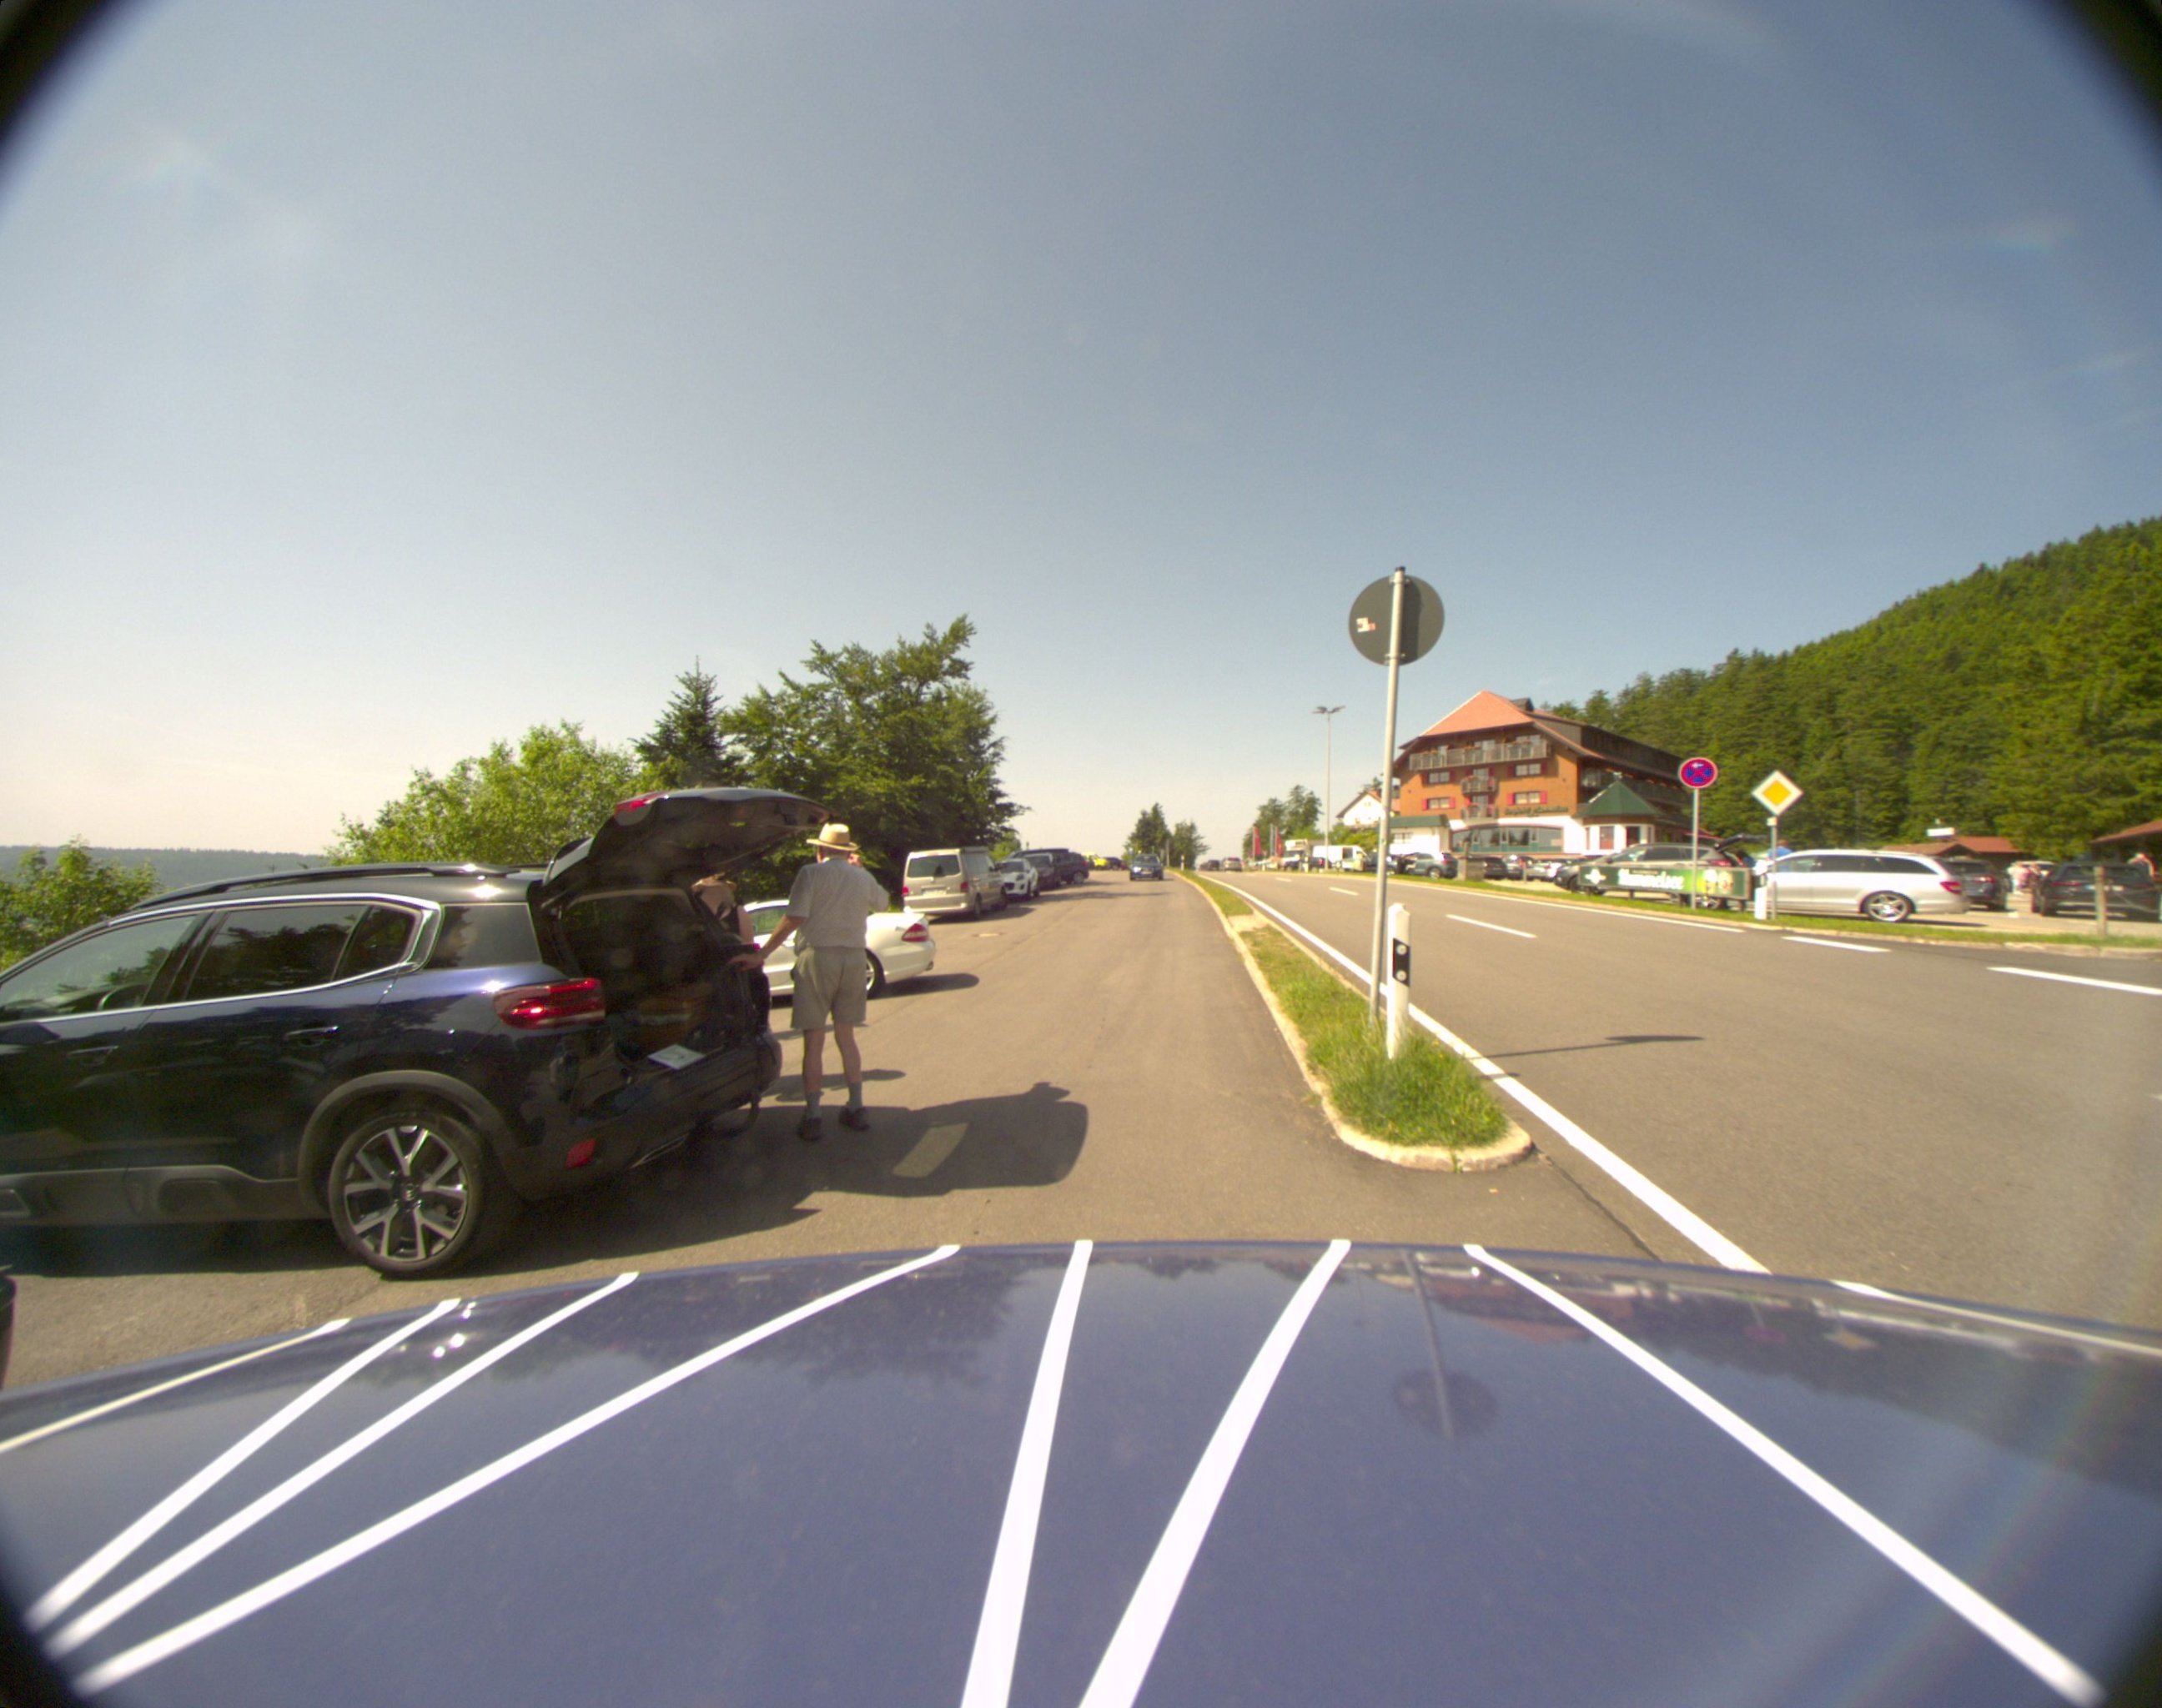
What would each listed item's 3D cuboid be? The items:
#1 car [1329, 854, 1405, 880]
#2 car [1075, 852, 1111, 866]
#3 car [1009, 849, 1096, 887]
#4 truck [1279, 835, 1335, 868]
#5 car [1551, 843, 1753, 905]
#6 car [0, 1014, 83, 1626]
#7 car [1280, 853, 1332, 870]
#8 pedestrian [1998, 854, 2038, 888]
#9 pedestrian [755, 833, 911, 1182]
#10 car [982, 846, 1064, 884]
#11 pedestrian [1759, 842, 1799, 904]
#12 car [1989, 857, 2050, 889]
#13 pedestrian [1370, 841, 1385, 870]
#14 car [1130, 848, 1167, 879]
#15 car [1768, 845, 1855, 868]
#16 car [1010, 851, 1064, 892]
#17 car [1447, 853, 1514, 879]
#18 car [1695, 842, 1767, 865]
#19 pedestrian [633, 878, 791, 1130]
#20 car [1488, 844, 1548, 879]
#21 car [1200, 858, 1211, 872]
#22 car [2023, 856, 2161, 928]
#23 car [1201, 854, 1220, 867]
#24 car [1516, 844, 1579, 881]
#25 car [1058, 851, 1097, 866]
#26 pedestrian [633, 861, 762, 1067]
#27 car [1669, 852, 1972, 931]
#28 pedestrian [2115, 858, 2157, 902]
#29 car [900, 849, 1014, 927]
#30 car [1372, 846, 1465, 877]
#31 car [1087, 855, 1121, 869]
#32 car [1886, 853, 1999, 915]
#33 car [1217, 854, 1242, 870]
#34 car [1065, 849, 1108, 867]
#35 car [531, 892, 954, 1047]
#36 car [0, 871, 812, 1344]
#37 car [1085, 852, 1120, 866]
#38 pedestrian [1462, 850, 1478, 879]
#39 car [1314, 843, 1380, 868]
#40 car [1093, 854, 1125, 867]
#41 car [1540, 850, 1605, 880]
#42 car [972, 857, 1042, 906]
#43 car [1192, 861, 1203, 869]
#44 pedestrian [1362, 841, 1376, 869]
[{"bbox_3d":[18.693,0.809,49.746,1.828,1.619,4.258,-1,1,-43],"label":"car"},{"bbox_3d":[1.358,0.533,85.199,3.908,1.605,1.877,0,1,7],"label":"car"},{"bbox_3d":[-1.470,0.710,38.531,4.001,1.609,1.874,-4,1,-15],"label":"car"},{"bbox_3d":[28.146,-0.329,94.385,2.876,3.798,9.036,-2,-1,42],"label":"truck"},{"bbox_3d":[16.741,0.503,22.459,1.726,1.646,4.538,-1,1,-44],"label":"car"},{"bbox_3d":[-4.571,1.200,1.093,4.091,1.368,1.702,-3,0,2],"label":"car"},{"bbox_3d":[20.267,0.657,68.491,4.082,1.518,1.828,1,1,44],"label":"car"},{"bbox_3d":[45.416,0.819,36.831,0.931,1.646,0.881,0,1,24],"label":"pedestrian"},{"bbox_3d":[-1.513,0.833,4.569,0.759,1.859,0.736,-2,-2,-24],"label":"pedestrian"},{"bbox_3d":[-3.430,0.635,44.688,4.462,1.914,1.874,-4,1,-15],"label":"car"},{"bbox_3d":[18.740,0.488,20.400,0.744,1.626,0.849,1,1,45],"label":"pedestrian"},{"bbox_3d":[52.087,1.028,42.211,4.008,1.521,1.994,-1,3,-40],"label":"car"},{"bbox_3d":[20.442,0.105,52.355,0.717,2.002,0.803,-1,1,3],"label":"pedestrian"},{"bbox_3d":[3.651,0.494,41.168,1.874,1.605,3.914,0,1,5],"label":"car"},{"bbox_3d":[58.246,0.179,60.665,1.924,1.706,4.832,-1,1,-41],"label":"car"},{"bbox_3d":[-1.917,0.760,34.420,1.874,1.609,4.001,-4,0,4],"label":"car"},{"bbox_3d":[23.273,0.644,44.444,1.721,1.422,3.999,0,1,-2],"label":"car"},{"bbox_3d":[51.424,-0.055,60.169,1.924,1.706,4.083,-1,1,-41],"label":"car"},{"bbox_3d":[-2.520,0.998,5.248,0.715,1.604,0.536,-3,1,3],"label":"pedestrian"},{"bbox_3d":[27.116,0.437,47.142,4.008,2.002,1.994,-1,1,-40],"label":"car"},{"bbox_3d":[25.173,2.254,153.672,2.015,2.735,5.920,0,1,8],"label":"car"},{"bbox_3d":[25.742,0.874,19.412,4.008,1.521,1.994,-1,3,-40],"label":"car"},{"bbox_3d":[16.678,0.783,98.052,1.998,1.638,4.568,0,0,5],"label":"car"},{"bbox_3d":[27.465,0.463,44.676,4.008,2.002,1.994,-1,1,-40],"label":"car"},{"bbox_3d":[-0.328,0.474,79.725,3.908,1.605,1.877,0,1,7],"label":"car"},{"bbox_3d":[-3.591,0.993,7.180,0.735,1.790,0.748,-3,1,-2],"label":"pedestrian"},{"bbox_3d":[15.643,0.695,16.353,1.726,1.422,4.489,-1,1,-43],"label":"car"},{"bbox_3d":[40.957,0.986,29.516,0.782,1.646,0.881,0,1,43],"label":"pedestrian"},{"bbox_3d":[-3.424,0.872,21.989,1.860,1.924,4.611,-4,0,8],"label":"car"},{"bbox_3d":[18.566,0.374,41.921,1.828,1.619,4.258,-1,1,-43],"label":"car"},{"bbox_3d":[2.770,0.963,91.237,3.908,1.605,1.877,0,1,7],"label":"car"},{"bbox_3d":[25.248,0.809,22.236,4.008,1.521,1.994,-1,3,-40],"label":"car"},{"bbox_3d":[14.445,0.738,74.002,1.883,1.466,4.715,-2,0,5],"label":"car"},{"bbox_3d":[0.648,0.446,82.734,4.454,1.914,1.877,0,1,7],"label":"car"},{"bbox_3d":[-3.914,1.306,9.517,4.413,1.288,1.754,-4,0,-13],"label":"car"},{"bbox_3d":[-3.954,1.099,3.896,4.353,1.617,1.870,-5,1,6],"label":"car"},{"bbox_3d":[2.564,0.551,88.543,3.908,1.605,1.877,0,1,7],"label":"car"},{"bbox_3d":[21.627,0.574,42.247,0.744,1.615,0.684,0,1,34],"label":"pedestrian"},{"bbox_3d":[30.344,0.146,86.820,6.948,2.774,2.671,0,1,23],"label":"car"},{"bbox_3d":[3.519,0.791,95.135,3.908,1.605,1.877,0,1,7],"label":"car"},{"bbox_3d":[26.894,0.559,41.549,4.103,1.504,1.819,0,1,-40],"label":"car"},{"bbox_3d":[-2.657,0.958,28.205,1.874,1.538,4.001,-4,0,4],"label":"car"},{"bbox_3d":[20.473,1.935,133.420,1.709,1.429,4.452,0,1,7],"label":"car"},{"bbox_3d":[20.795,0.042,54.954,0.717,2.002,0.803,-1,1,3],"label":"pedestrian"}]
